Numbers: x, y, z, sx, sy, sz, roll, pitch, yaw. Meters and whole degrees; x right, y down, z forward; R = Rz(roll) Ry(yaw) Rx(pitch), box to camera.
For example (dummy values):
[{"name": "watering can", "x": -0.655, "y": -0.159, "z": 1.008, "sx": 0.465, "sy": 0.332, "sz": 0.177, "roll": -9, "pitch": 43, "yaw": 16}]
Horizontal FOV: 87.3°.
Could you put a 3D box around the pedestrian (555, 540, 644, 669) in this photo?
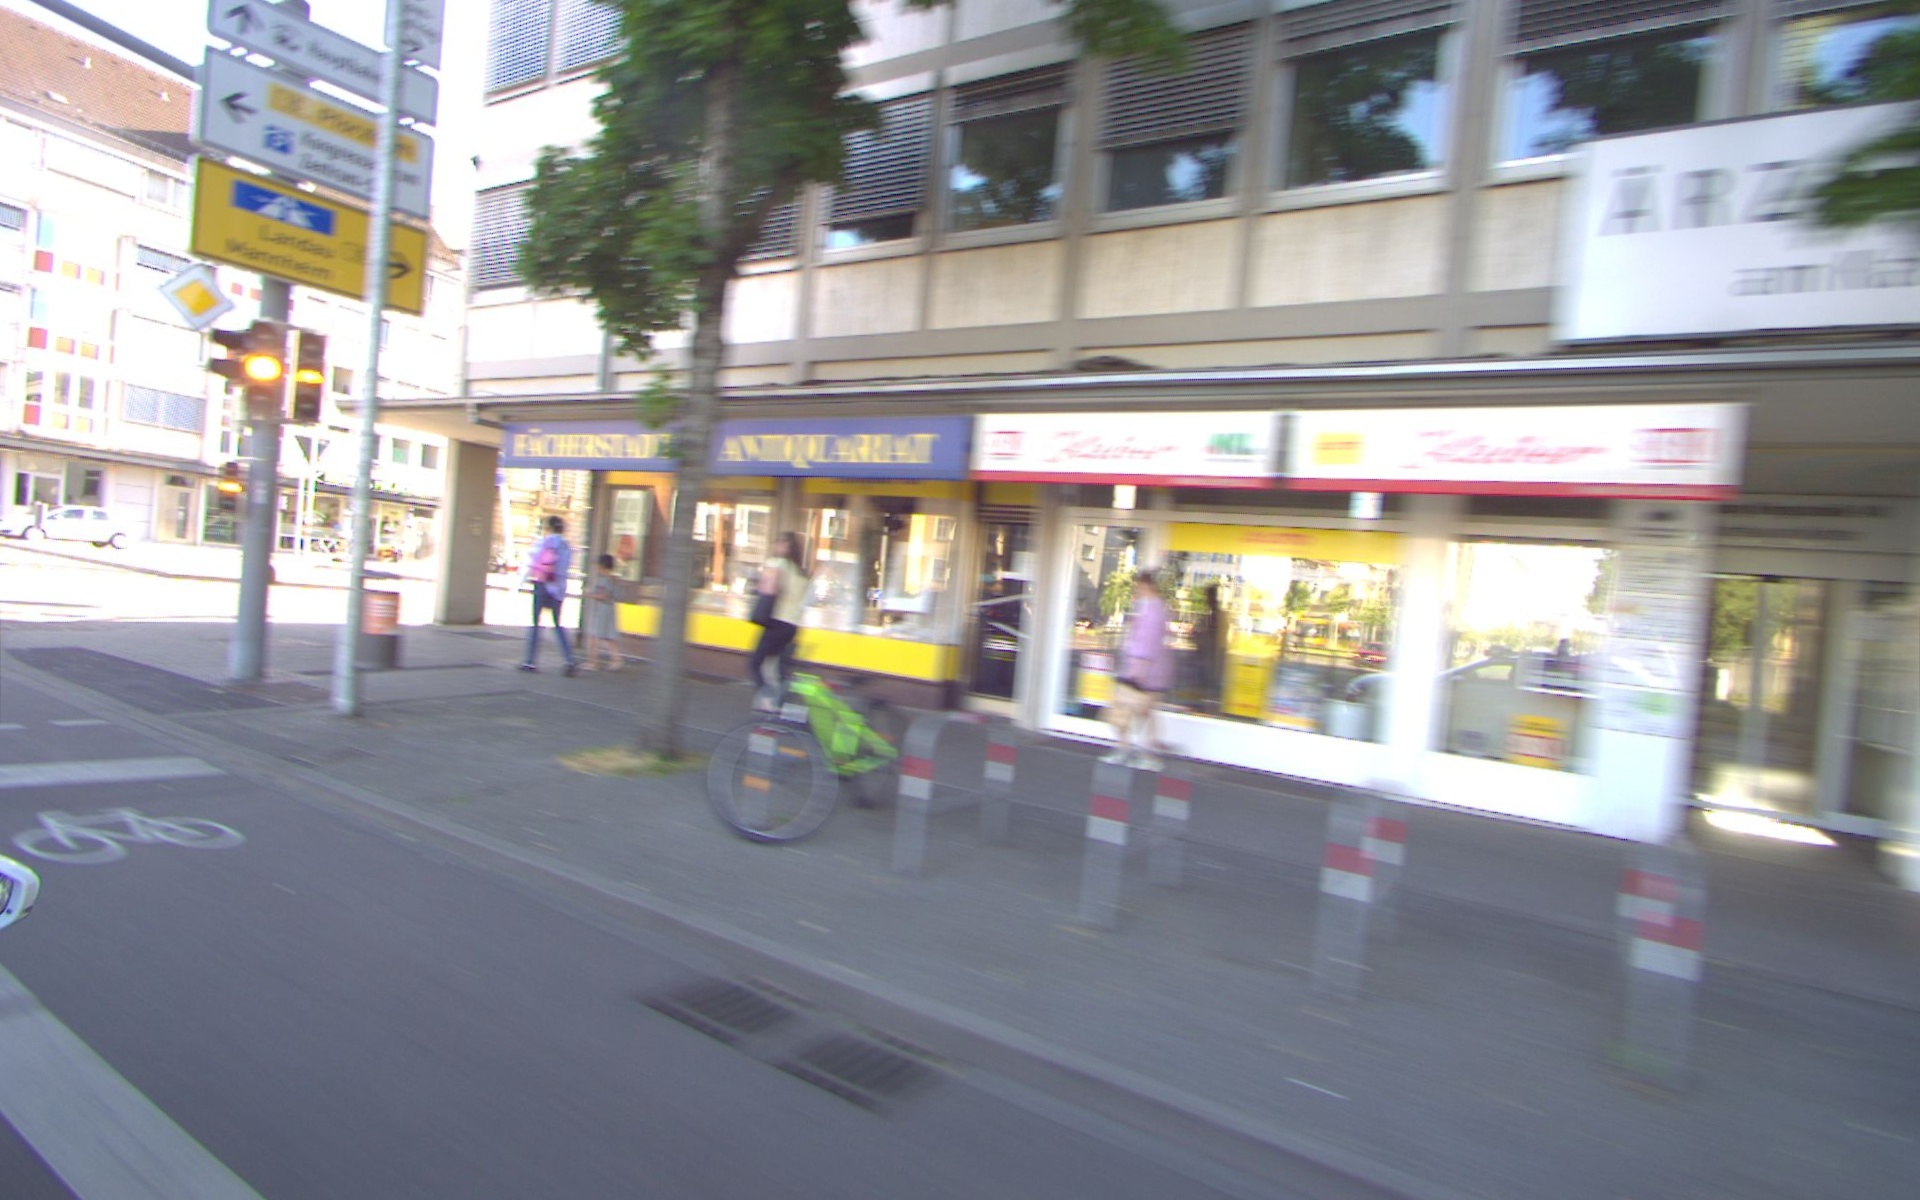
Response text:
[{"name": "pedestrian", "x": -4.250, "y": 0.055, "z": 11.863, "sx": 0.611, "sy": 1.440, "sz": 0.644, "roll": 6, "pitch": 1, "yaw": 35}]

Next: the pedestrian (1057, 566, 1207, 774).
[{"name": "pedestrian", "x": 1.479, "y": 0.582, "z": 8.629, "sx": 0.866, "sy": 1.622, "sz": 0.843, "roll": 6, "pitch": 1, "yaw": 34}]

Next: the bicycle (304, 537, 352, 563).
[{"name": "bicycle", "x": -31.600, "y": -2.494, "z": 50.310, "sx": 0.527, "sy": 1.062, "sz": 1.971, "roll": 5, "pitch": 0, "yaw": 26}]

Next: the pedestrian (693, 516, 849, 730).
[{"name": "pedestrian", "x": -1.651, "y": 0.194, "z": 8.807, "sx": 0.866, "sy": 1.728, "sz": 0.843, "roll": 6, "pitch": 1, "yaw": 34}]

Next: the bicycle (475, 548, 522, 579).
[{"name": "bicycle", "x": -19.287, "y": -1.542, "z": 42.025, "sx": 1.961, "sy": 1.093, "sz": 0.596, "roll": 6, "pitch": 0, "yaw": 27}]

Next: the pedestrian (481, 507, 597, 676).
[{"name": "pedestrian", "x": -4.643, "y": -0.090, "z": 11.081, "sx": 0.839, "sy": 1.743, "sz": 0.870, "roll": 5, "pitch": 1, "yaw": -41}]

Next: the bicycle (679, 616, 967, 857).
[{"name": "bicycle", "x": -0.719, "y": 0.712, "z": 5.940, "sx": 0.473, "sy": 1.172, "sz": 1.888, "roll": 6, "pitch": 2, "yaw": 34}]

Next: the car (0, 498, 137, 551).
[{"name": "car", "x": -32.371, "y": -2.677, "z": 36.209, "sx": 1.773, "sy": 1.449, "sz": 3.846, "roll": 3, "pitch": -1, "yaw": 29}]
